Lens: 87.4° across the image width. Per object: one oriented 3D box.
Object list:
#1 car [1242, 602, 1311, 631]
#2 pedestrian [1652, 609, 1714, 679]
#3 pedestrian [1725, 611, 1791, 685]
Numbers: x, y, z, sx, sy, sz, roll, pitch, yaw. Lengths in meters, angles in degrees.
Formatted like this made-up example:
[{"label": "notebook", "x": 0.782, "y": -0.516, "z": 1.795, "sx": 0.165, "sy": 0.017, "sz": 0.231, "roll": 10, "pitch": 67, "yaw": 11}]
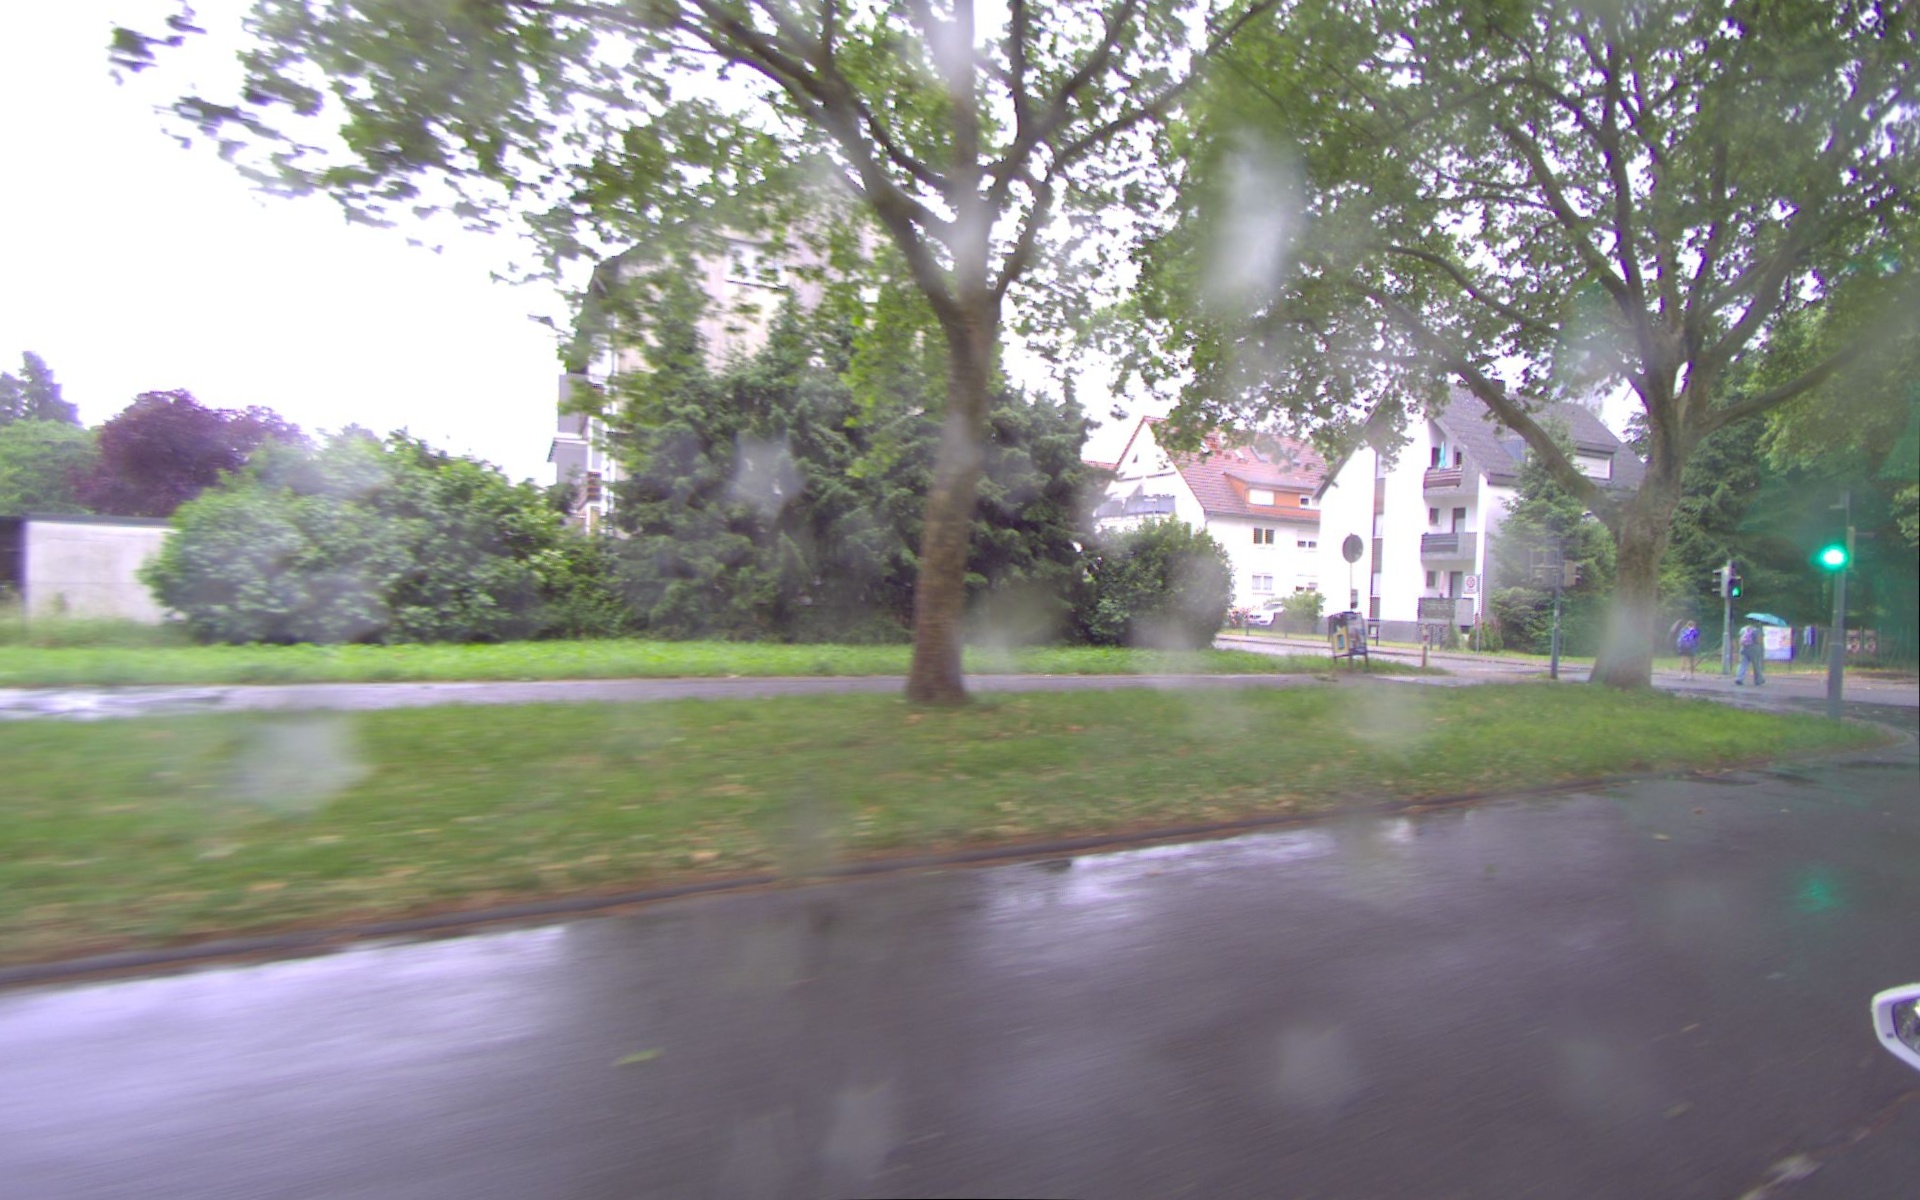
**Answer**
[{"label": "car", "x": 17.492, "y": 0.938, "z": 55.472, "sx": 3.612, "sy": 1.465, "sz": 1.609, "roll": 2, "pitch": -1, "yaw": -29}, {"label": "pedestrian", "x": 19.051, "y": 1.148, "z": 26.482, "sx": 0.868, "sy": 1.789, "sz": 1.028, "roll": 1, "pitch": 0, "yaw": -28}, {"label": "pedestrian", "x": 19.970, "y": 1.190, "z": 25.151, "sx": 0.827, "sy": 1.789, "sz": 1.028, "roll": 1, "pitch": 0, "yaw": -28}]
